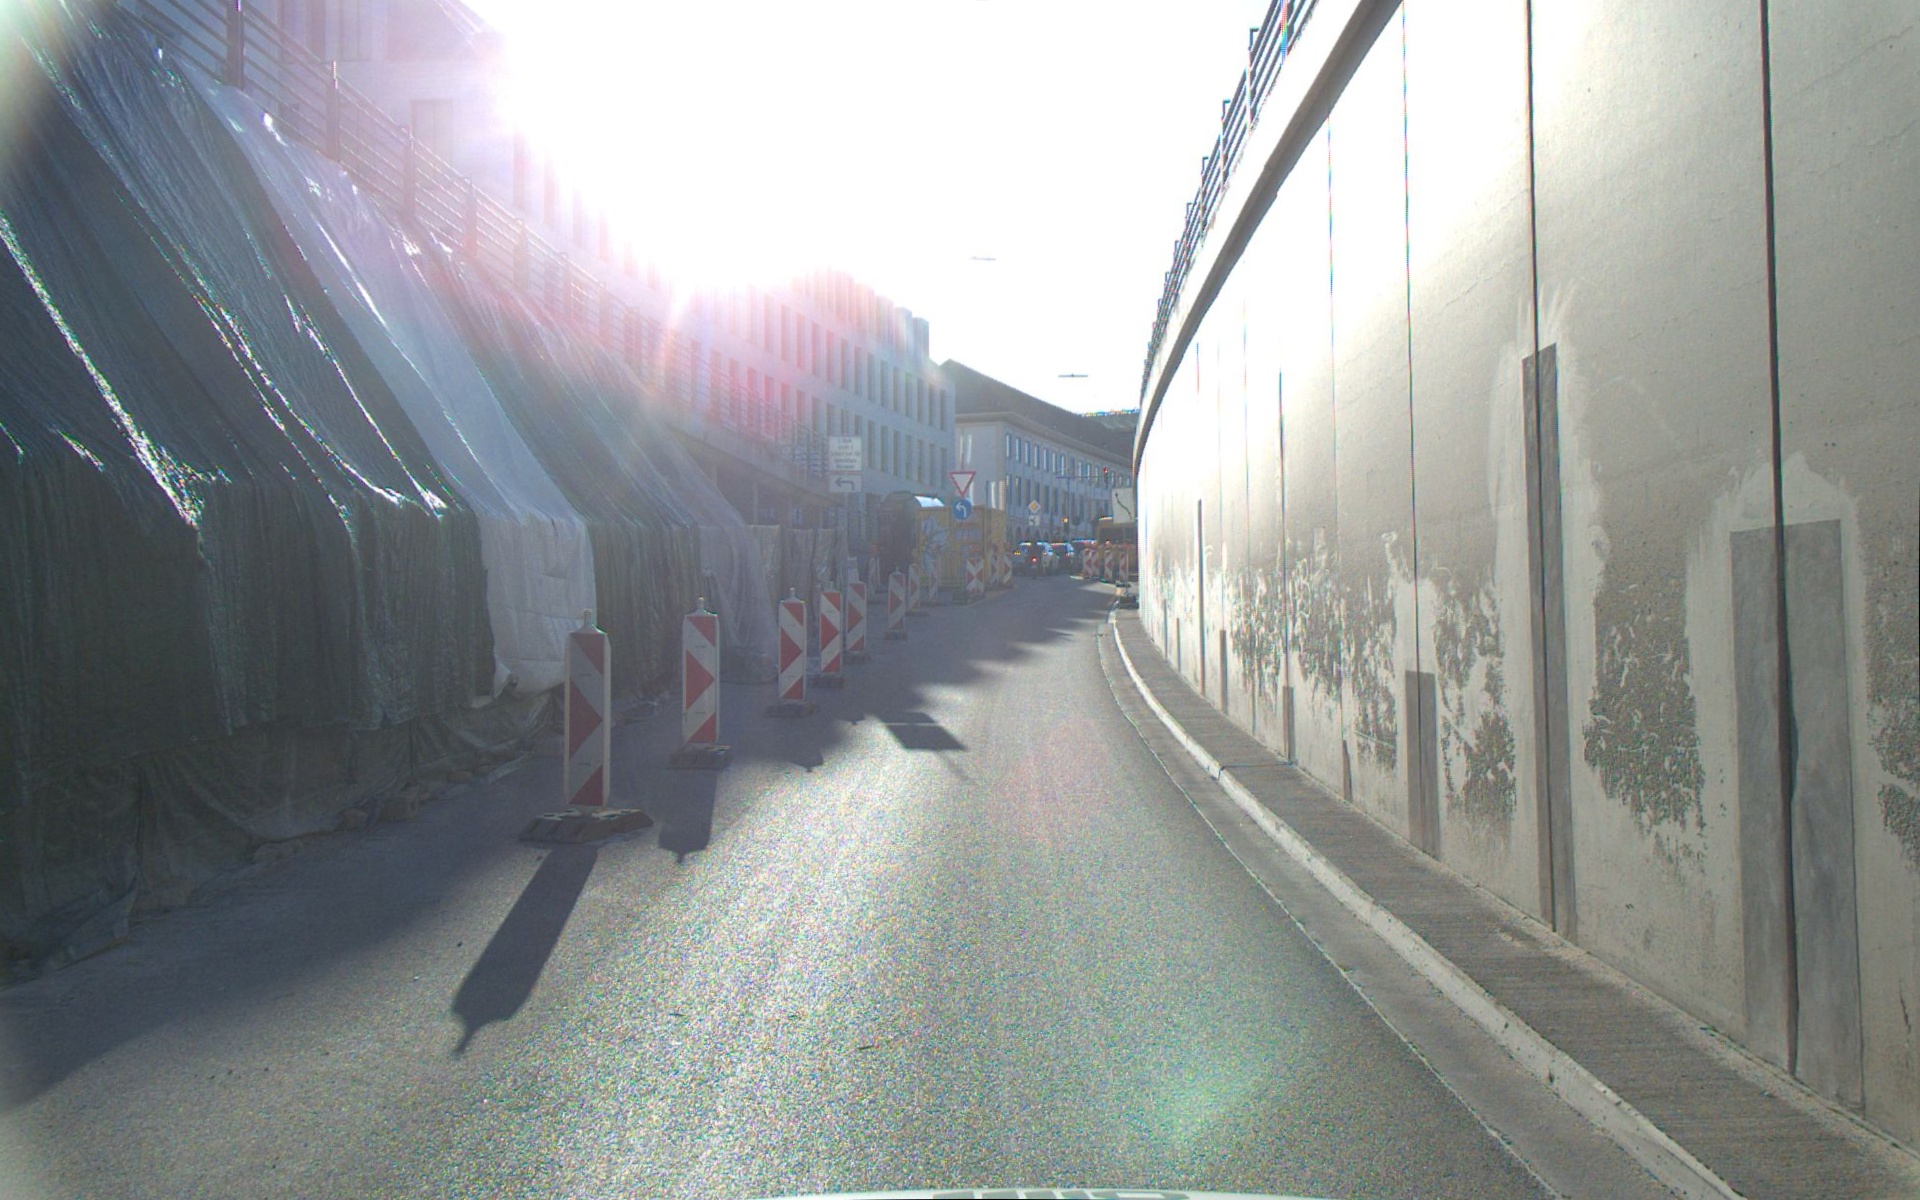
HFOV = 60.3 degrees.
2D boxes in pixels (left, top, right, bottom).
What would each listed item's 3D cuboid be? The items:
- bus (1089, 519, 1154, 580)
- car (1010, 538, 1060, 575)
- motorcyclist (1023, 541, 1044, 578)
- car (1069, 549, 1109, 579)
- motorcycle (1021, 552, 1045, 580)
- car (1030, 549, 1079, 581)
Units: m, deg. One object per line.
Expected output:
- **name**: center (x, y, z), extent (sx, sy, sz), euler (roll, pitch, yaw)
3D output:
- **bus**: center (7.099, -2.201, 72.185), extent (2.177, 2.601, 4.431), euler (1, 1, 14)
- **car**: center (3.451, -1.952, 75.651), extent (1.738, 1.632, 4.004), euler (1, 1, 11)
- **motorcyclist**: center (3.075, -1.678, 68.855), extent (0.787, 1.530, 0.777), euler (0, -2, 9)
- **car**: center (7.013, -1.929, 89.470), extent (1.817, 1.560, 4.004), euler (1, 1, 9)
- **motorcycle**: center (3.064, -1.405, 68.843), extent (0.755, 1.010, 2.185), euler (0, -2, 9)
- **car**: center (4.698, -1.717, 81.817), extent (1.782, 1.560, 4.004), euler (1, 1, 12)
